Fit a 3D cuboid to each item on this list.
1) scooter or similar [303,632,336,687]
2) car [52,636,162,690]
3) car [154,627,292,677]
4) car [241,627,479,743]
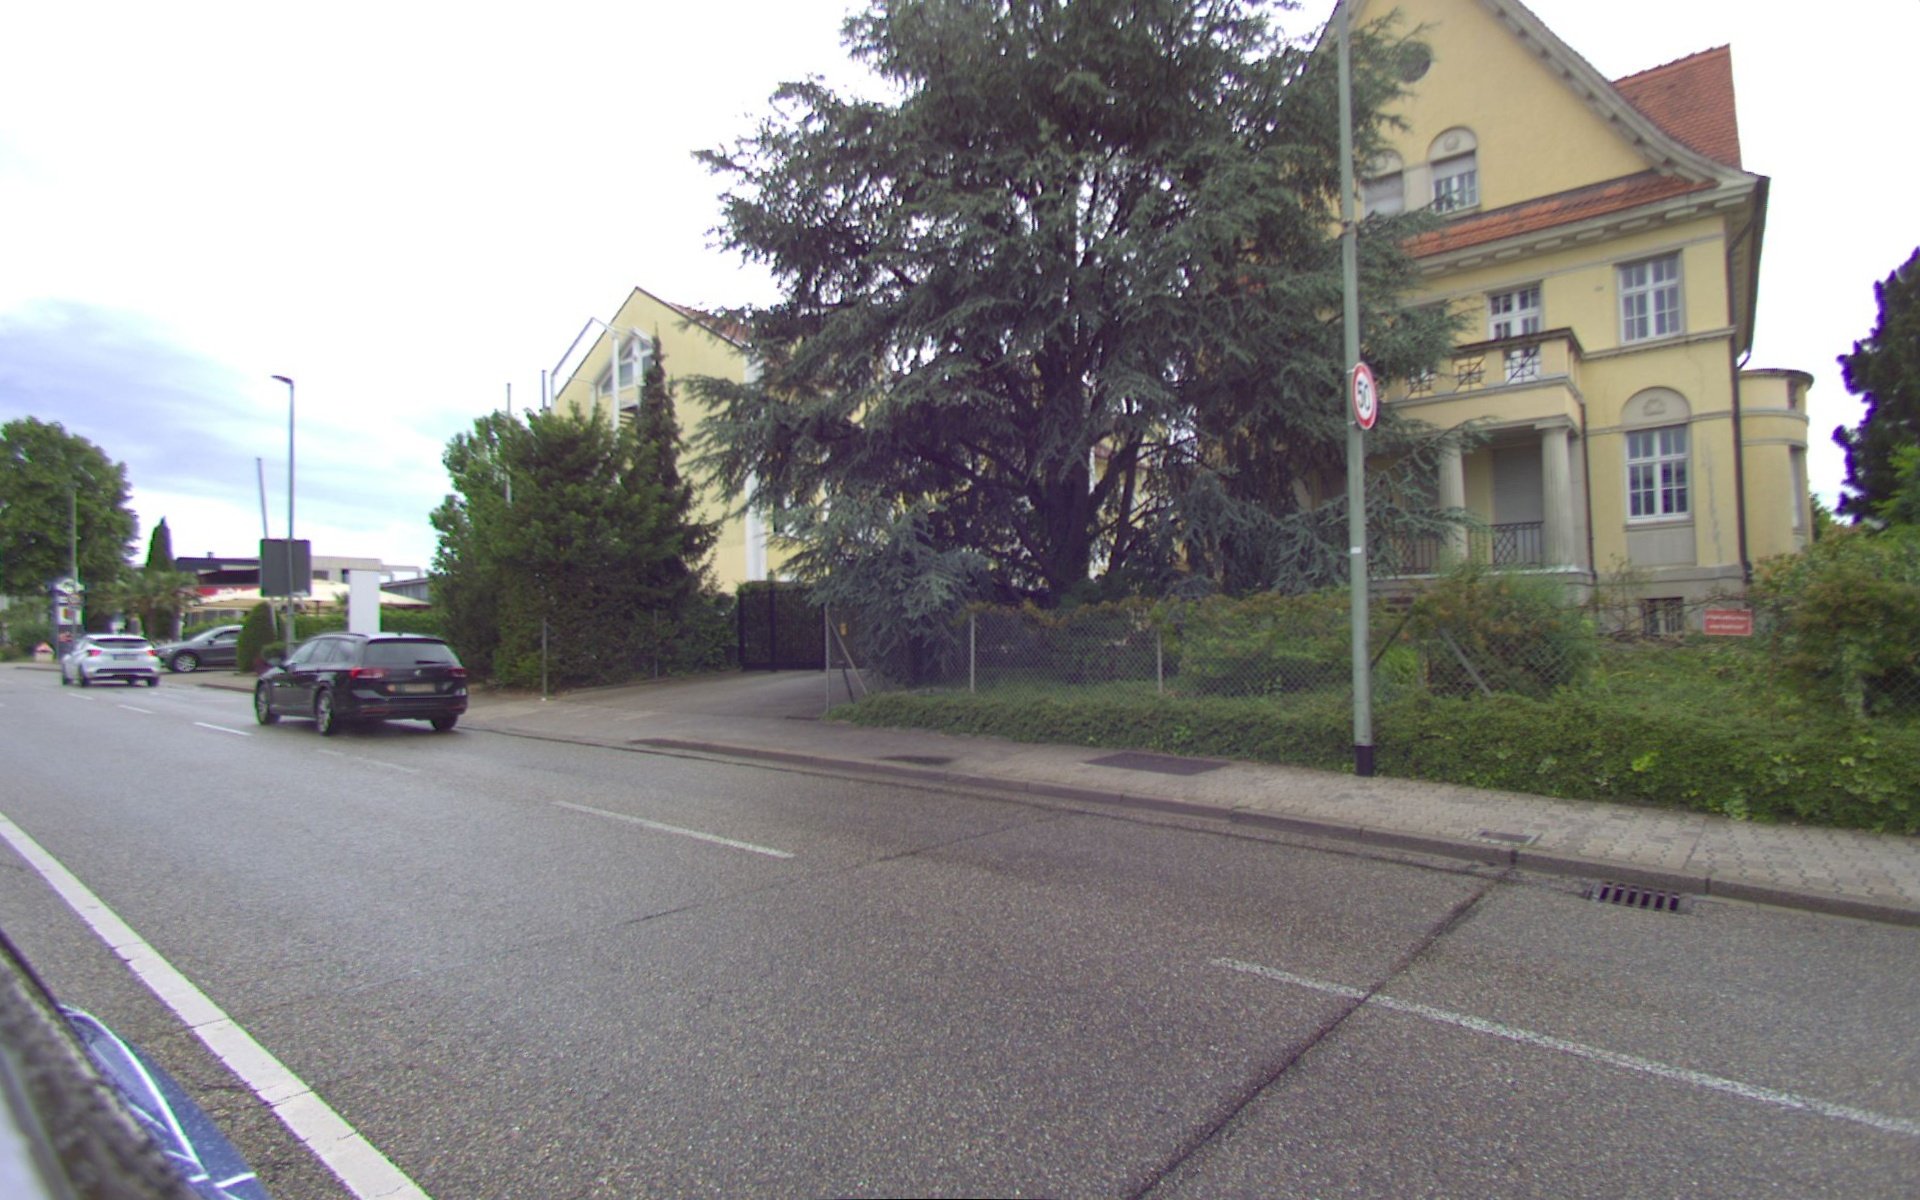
[{"bbox_3d":[-17.063,1.564,26.952,0.498,1.416,1.884,1,-2,-39],"label":"scooter or similar"},{"bbox_3d":[-24.281,1.734,28.767,3.798,1.408,1.728,-1,-2,40],"label":"car"},{"bbox_3d":[-26.722,1.840,36.760,3.876,1.664,1.720,1,-2,-44],"label":"car"},{"bbox_3d":[-9.281,1.175,15.507,4.468,1.513,1.758,-1,-2,40],"label":"car"}]
